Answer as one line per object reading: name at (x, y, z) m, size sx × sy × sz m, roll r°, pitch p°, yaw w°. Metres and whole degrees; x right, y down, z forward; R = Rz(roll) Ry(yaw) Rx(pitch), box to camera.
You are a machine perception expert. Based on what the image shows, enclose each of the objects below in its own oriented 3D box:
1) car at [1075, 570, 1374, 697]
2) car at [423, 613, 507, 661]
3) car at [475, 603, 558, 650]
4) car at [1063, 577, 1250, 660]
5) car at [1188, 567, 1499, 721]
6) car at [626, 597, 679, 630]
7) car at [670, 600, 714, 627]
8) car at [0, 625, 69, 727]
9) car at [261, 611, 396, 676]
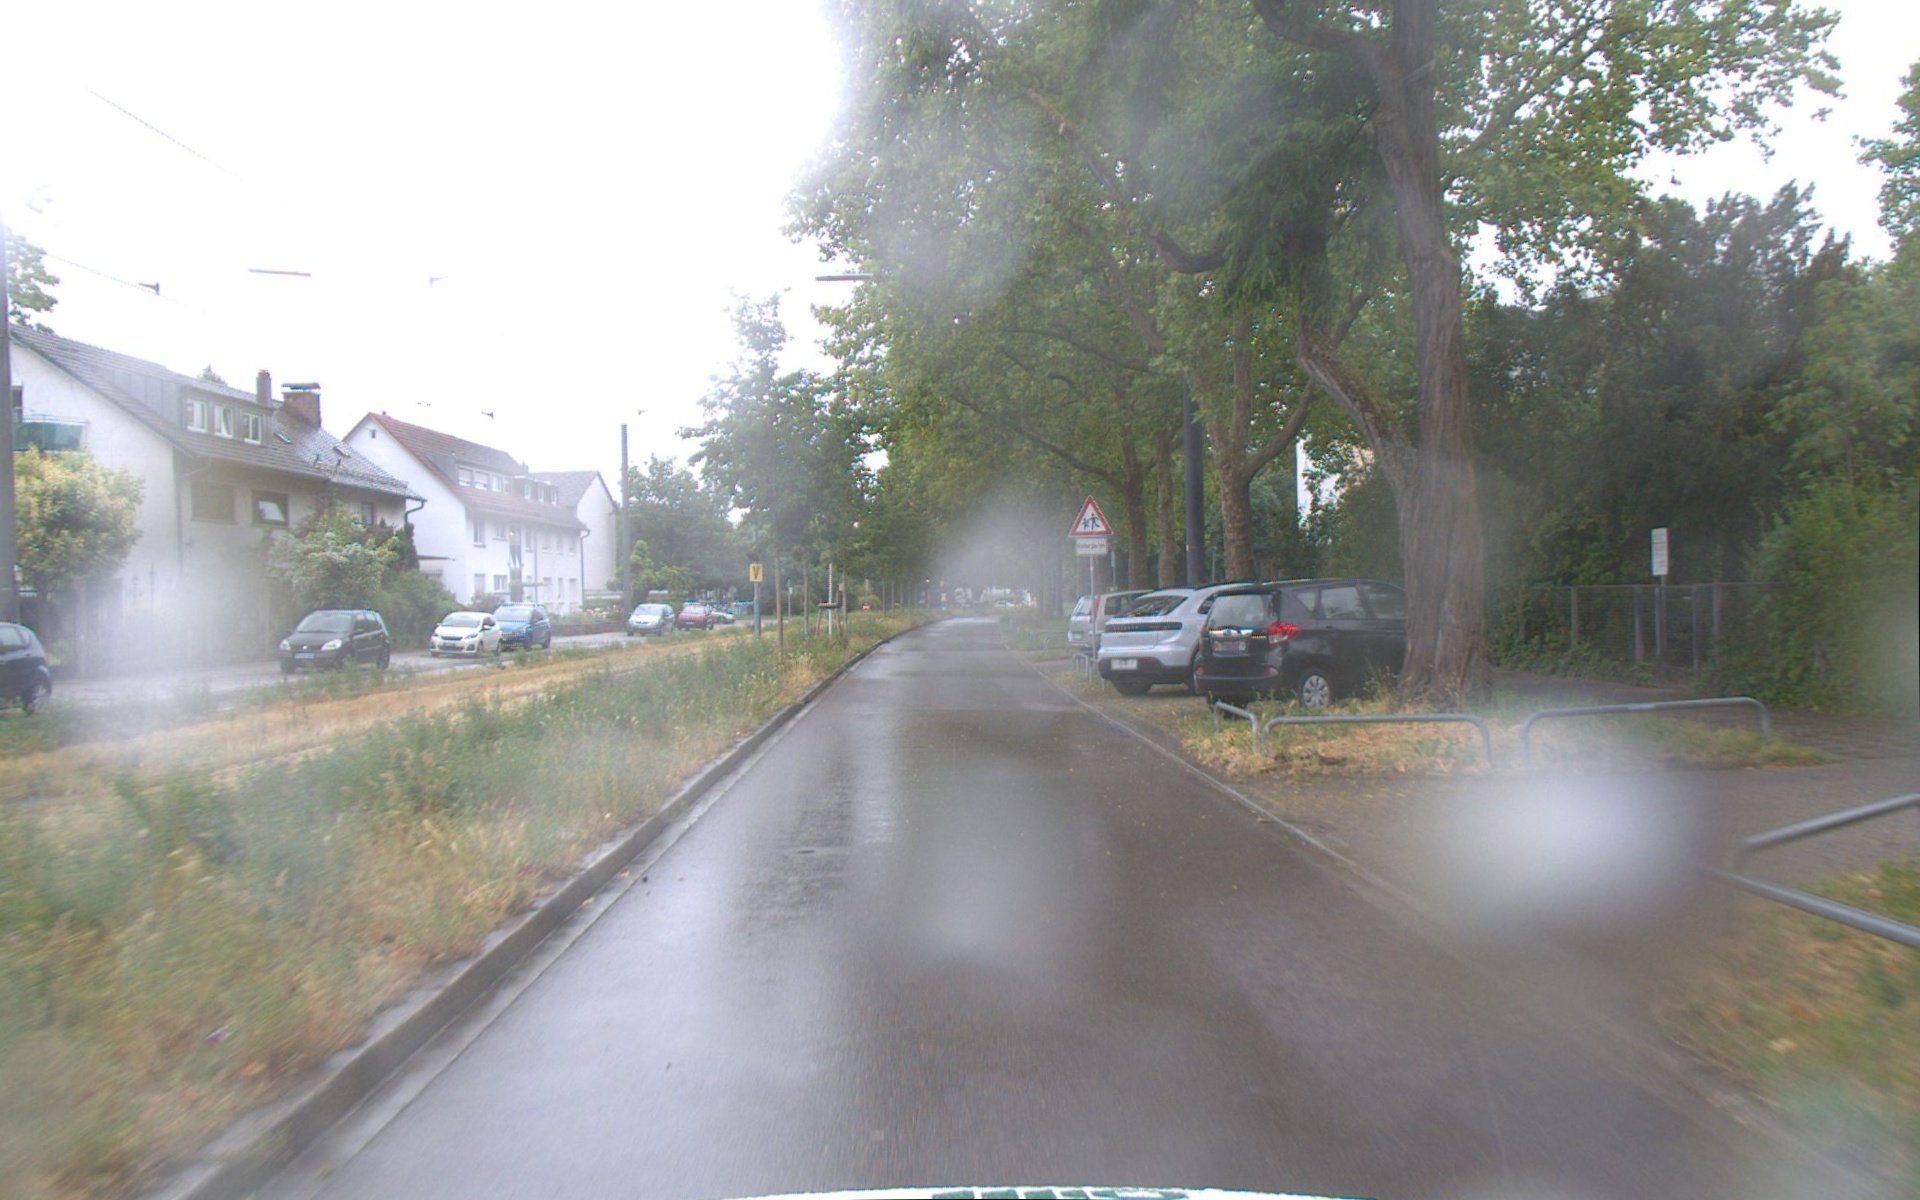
car at (4.257, 0.482, 26.216) m, size 4.727 × 1.697 × 1.968 m, roll -3°, pitch 1°, yaw -38°
car at (-16.637, 1.224, 55.748) m, size 1.759 × 1.514 × 3.597 m, roll 0°, pitch 1°, yaw 0°
car at (-16.691, 0.977, 62.438) m, size 1.953 × 1.642 × 4.413 m, roll 0°, pitch 1°, yaw 0°
car at (4.407, 0.391, 37.177) m, size 3.792 × 1.593 × 1.613 m, roll -4°, pitch 1°, yaw -15°
car at (4.697, 0.486, 20.118) m, size 3.670 × 1.593 × 1.600 m, roll -3°, pitch 1°, yaw -34°
car at (-16.005, 0.682, 86.291) m, size 1.953 × 1.608 × 4.517 m, roll 0°, pitch 1°, yaw 0°
car at (-16.179, 0.790, 100.004) m, size 1.953 × 1.514 × 4.205 m, roll 0°, pitch 1°, yaw 0°
car at (-16.293, 1.244, 26.650) m, size 1.836 × 1.577 × 3.869 m, roll 0°, pitch 1°, yaw -1°
car at (-16.665, 1.113, 43.893) m, size 1.953 × 1.543 × 4.205 m, roll 0°, pitch 1°, yaw 0°
